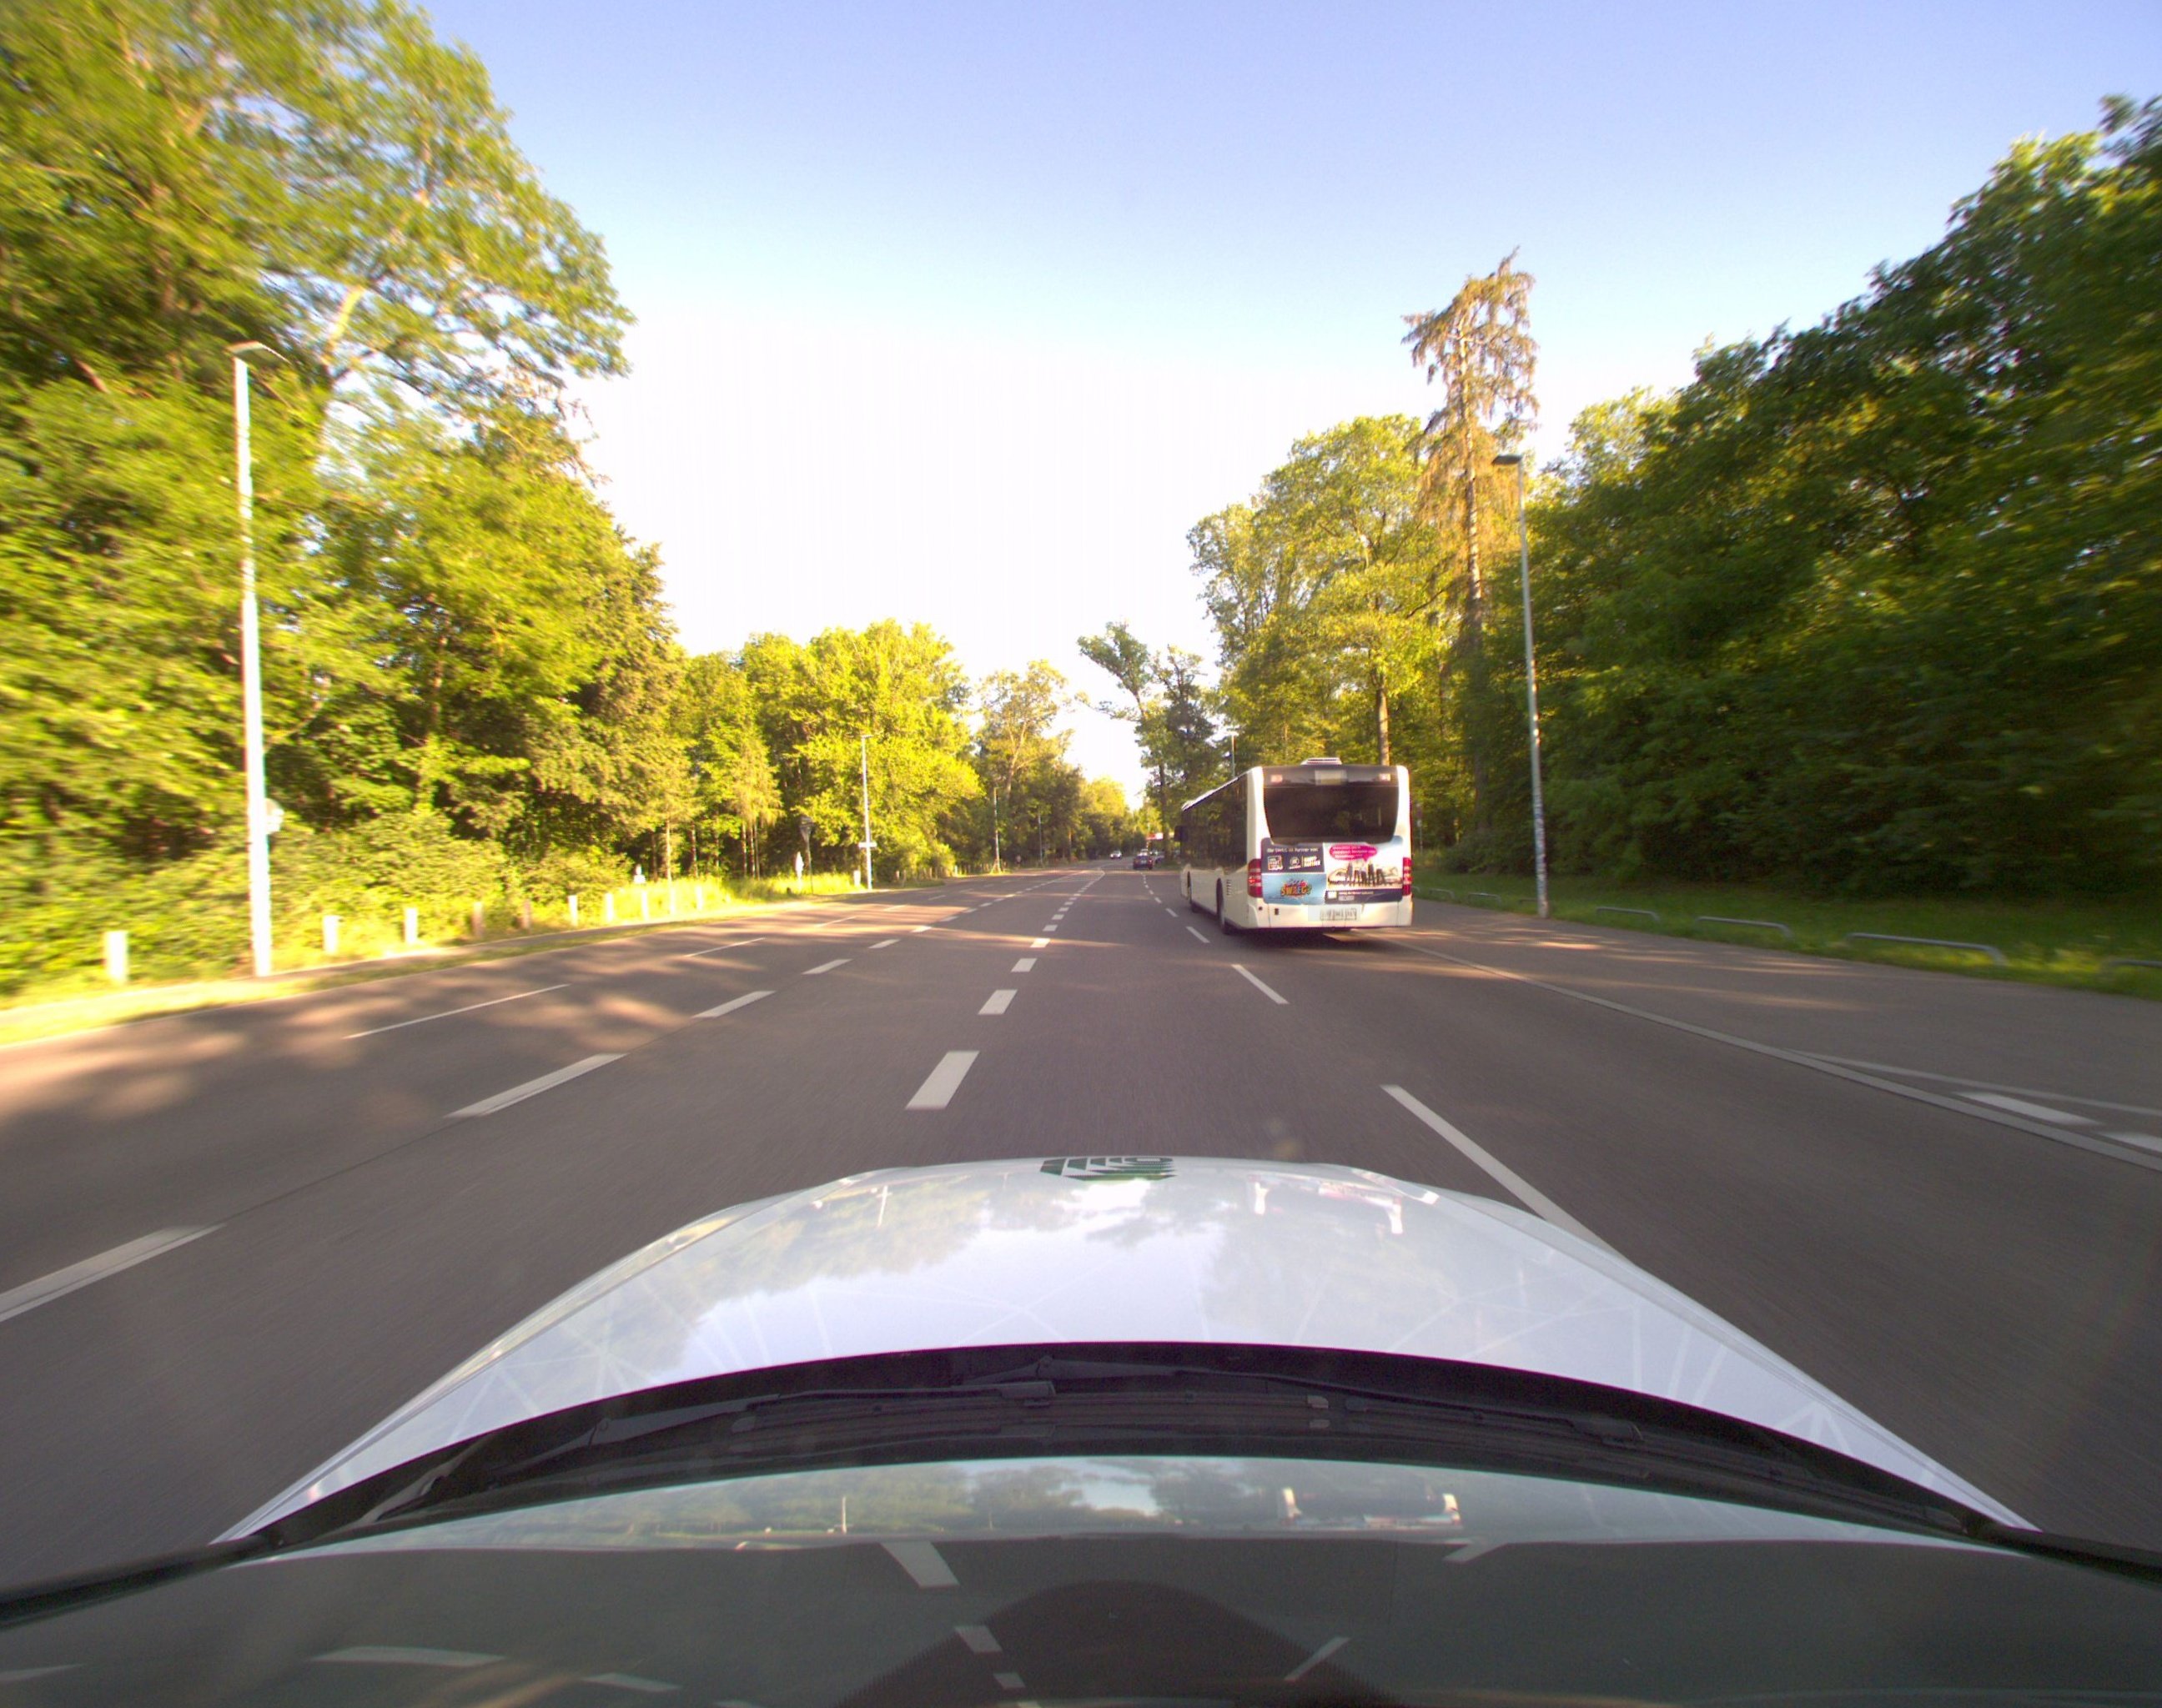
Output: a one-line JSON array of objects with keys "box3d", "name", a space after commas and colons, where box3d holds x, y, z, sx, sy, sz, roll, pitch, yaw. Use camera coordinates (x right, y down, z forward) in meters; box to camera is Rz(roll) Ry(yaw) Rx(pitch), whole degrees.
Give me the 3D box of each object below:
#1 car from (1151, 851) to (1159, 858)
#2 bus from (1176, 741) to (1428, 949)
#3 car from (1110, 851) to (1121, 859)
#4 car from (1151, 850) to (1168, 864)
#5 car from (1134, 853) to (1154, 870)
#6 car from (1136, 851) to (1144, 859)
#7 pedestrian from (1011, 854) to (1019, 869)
[{"box3d": [18.931, 0.154, 209.129, 1.854, 1.565, 4.005, -3, -1, 5], "name": "car"}, {"box3d": [3.970, -0.101, 18.116, 2.679, 3.042, 12.046, -1, 0, 2], "name": "bus"}, {"box3d": [6.769, 0.207, 161.098, 1.853, 1.537, 4.139, -1, 0, 6], "name": "car"}, {"box3d": [9.720, 0.394, 100.915, 1.621, 1.658, 4.145, -1, 0, 12], "name": "car"}, {"box3d": [5.990, 0.709, 77.150, 1.623, 1.547, 4.139, -1, 0, 7], "name": "car"}, {"box3d": [13.370, 0.144, 184.181, 1.855, 1.729, 4.004, -1, 0, 4], "name": "car"}, {"box3d": [-7.682, 0.883, 95.177, 0.776, 1.812, 0.770, -2, 0, 2], "name": "pedestrian"}]
